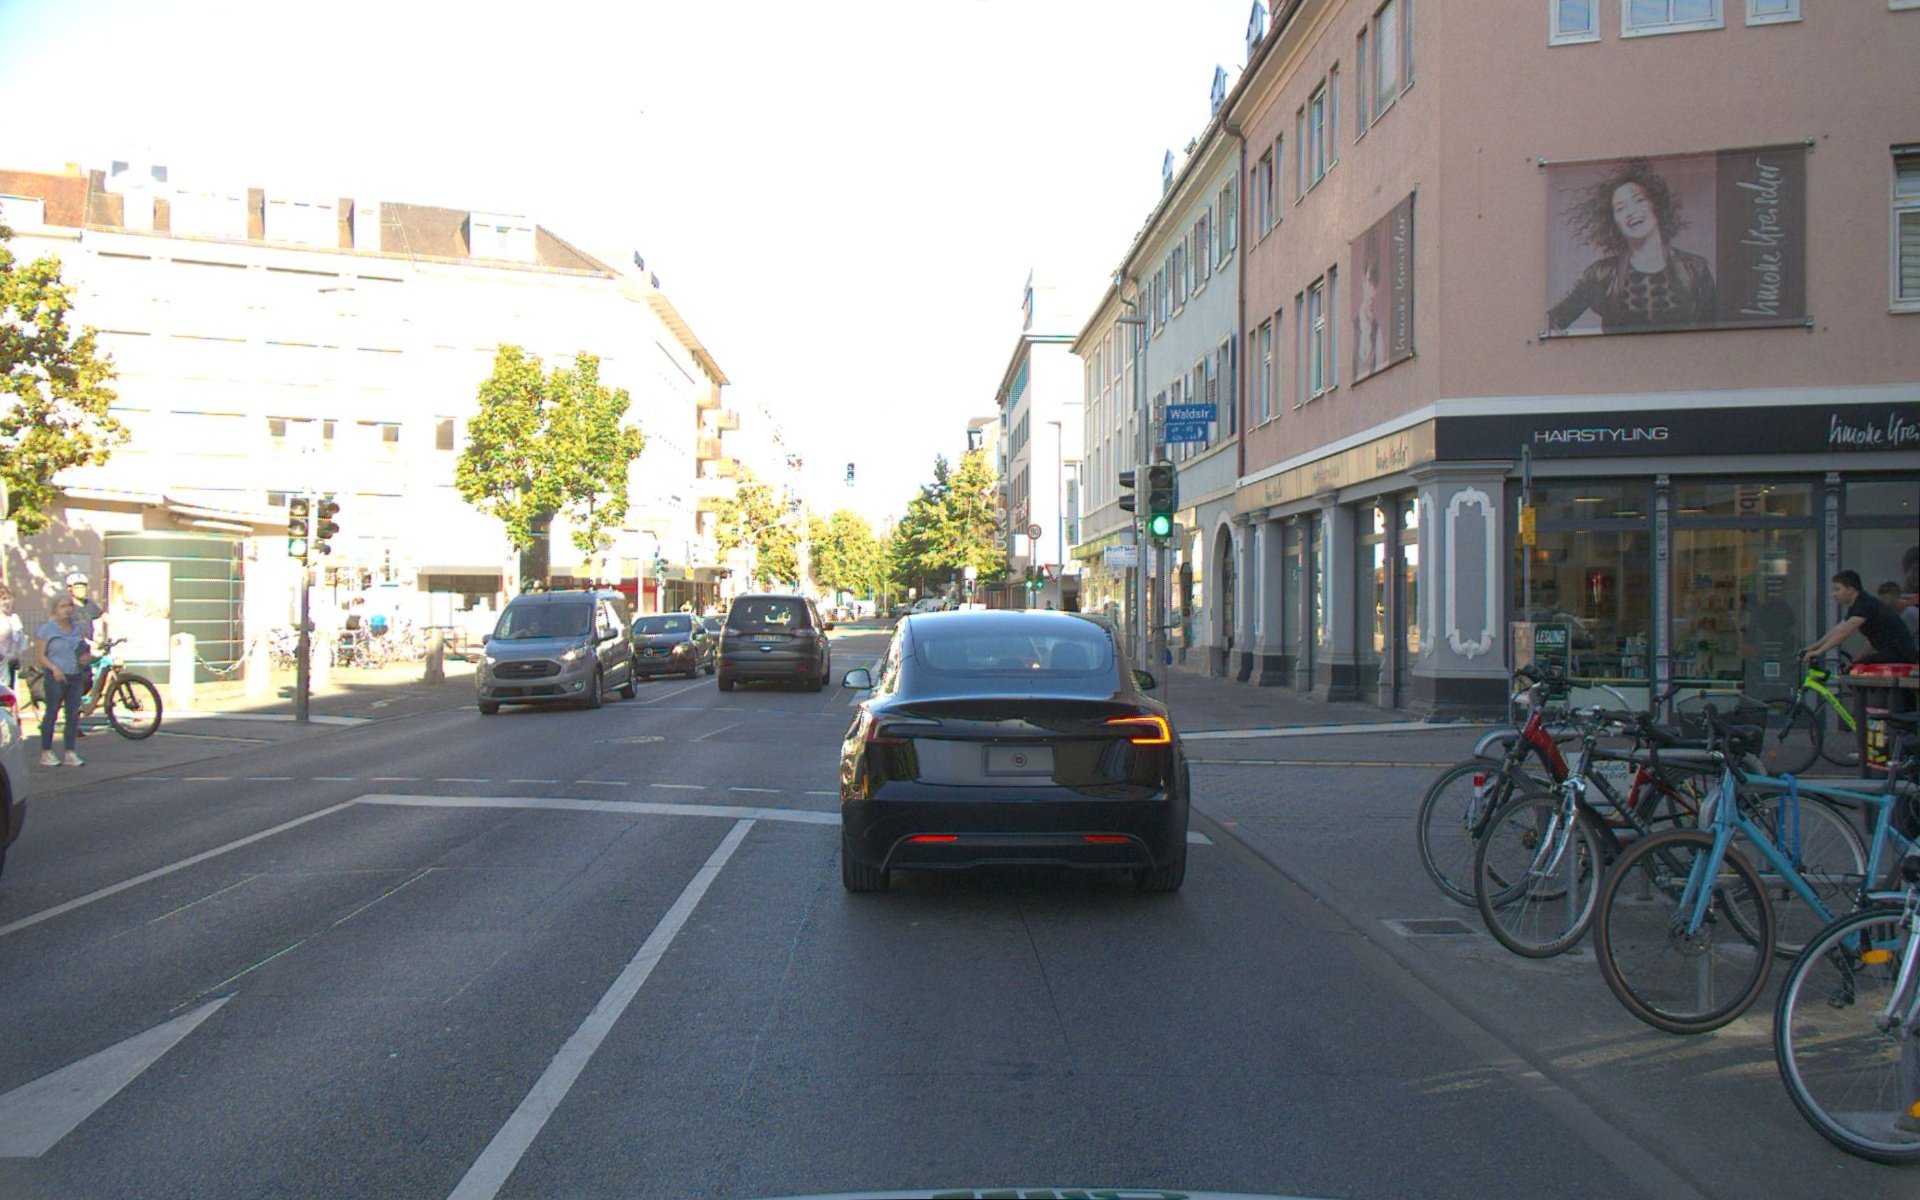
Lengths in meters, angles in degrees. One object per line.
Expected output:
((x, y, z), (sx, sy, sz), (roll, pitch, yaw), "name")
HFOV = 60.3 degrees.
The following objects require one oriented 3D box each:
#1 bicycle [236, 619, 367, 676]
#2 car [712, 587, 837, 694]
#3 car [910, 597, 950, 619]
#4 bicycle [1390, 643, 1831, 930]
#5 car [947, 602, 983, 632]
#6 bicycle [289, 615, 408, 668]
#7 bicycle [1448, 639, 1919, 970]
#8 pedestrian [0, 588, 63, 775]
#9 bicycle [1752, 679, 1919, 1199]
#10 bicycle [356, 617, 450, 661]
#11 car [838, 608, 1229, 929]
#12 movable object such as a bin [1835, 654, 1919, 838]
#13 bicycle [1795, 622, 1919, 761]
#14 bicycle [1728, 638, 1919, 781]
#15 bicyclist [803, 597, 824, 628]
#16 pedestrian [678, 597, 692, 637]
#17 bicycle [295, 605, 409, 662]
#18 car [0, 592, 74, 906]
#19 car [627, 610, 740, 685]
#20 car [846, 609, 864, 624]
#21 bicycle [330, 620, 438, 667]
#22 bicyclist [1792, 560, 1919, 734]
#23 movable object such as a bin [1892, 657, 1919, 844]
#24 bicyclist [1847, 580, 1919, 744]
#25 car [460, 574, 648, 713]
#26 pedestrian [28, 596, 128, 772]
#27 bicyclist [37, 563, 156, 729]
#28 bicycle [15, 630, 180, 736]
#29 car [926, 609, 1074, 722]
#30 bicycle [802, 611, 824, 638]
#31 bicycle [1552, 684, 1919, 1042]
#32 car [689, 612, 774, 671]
((-14.199, 1.020, 35.698), (2.455, 1.176, 0.842), (1, 0, -3), "bicycle")
((-3.334, 0.691, 30.549), (1.953, 1.803, 4.726), (0, 0, -2), "car")
((-2.942, 0.746, 160.890), (3.907, 2.049, 1.999), (1, 0, -2), "car")
((3.127, 0.884, 8.115), (1.822, 1.280, 0.833), (-1, 0, 4), "bicycle")
((0.264, 0.943, 94.149), (1.953, 1.657, 3.999), (0, 0, -1), "car")
((-14.119, 0.961, 38.232), (2.412, 1.176, 0.842), (1, 0, -3), "bicycle")
((3.065, 0.838, 7.084), (1.709, 1.289, 0.781), (-1, 0, 2), "bicycle")
((-9.099, 0.766, 15.879), (0.537, 1.758, 0.673), (0, -1, 32), "pedestrian")
((3.224, 0.875, 4.556), (1.686, 1.290, 0.791), (-1, 0, 4), "bicycle")
((-15.251, 1.061, 45.329), (2.279, 1.176, 0.841), (1, 0, -7), "bicycle")
((0.310, 0.793, 9.664), (1.810, 1.480, 3.999), (0, 0, -1), "car")
((6.090, 0.917, 10.509), (0.718, 1.111, 0.627), (1, -1, 1), "movable object such as a bin")
((8.741, 0.830, 15.276), (1.756, 1.243, 0.681), (0, 0, 18), "bicycle")
((7.705, 0.920, 14.187), (1.926, 1.169, 0.791), (-1, -1, 18), "bicycle")
((-7.876, 0.688, 88.857), (1.104, 1.657, 0.964), (1, 0, -4), "bicyclist")
((-14.077, 0.872, 84.713), (0.563, 2.049, 0.827), (1, -1, -5), "pedestrian")
((-14.732, 0.804, 40.154), (2.429, 1.347, 0.921), (1, 0, -7), "bicycle")
((-5.691, 0.802, 6.876), (1.771, 1.582, 4.307), (-3, 0, -3), "car")
((-6.169, 1.020, 37.421), (1.954, 1.434, 4.671), (-3, 0, -3), "car")
((-11.421, 1.799, 180.237), (1.954, 1.666, 3.997), (0, 0, -4), "car")
((-14.920, 1.129, 42.906), (2.485, 1.176, 0.841), (1, 0, -6), "bicycle")
((7.705, 0.392, 14.196), (0.903, 1.439, 0.806), (0, -1, 18), "bicyclist")
((6.113, 0.913, 9.872), (0.737, 1.111, 0.627), (1, -1, 1), "movable object such as a bin")
((8.775, 0.562, 15.250), (0.926, 1.475, 0.806), (0, -1, 19), "bicyclist")
((-6.259, 0.617, 26.049), (1.797, 1.877, 4.673), (-3, 0, -1), "car")
((-8.739, 0.814, 16.390), (0.671, 1.692, 0.619), (0, -1, 34), "pedestrian")
((-10.045, 0.522, 19.257), (0.930, 1.870, 0.788), (1, 0, 23), "bicyclist")
((-10.101, 0.946, 19.354), (2.019, 1.159, 0.538), (1, 0, 23), "bicycle")
((0.515, 0.920, 25.017), (1.953, 1.538, 4.173), (1, 0, -2), "car")
((-7.864, 1.315, 88.761), (1.089, 1.368, 3.997), (1, 0, -4), "bicycle")
((3.137, 0.900, 5.906), (1.760, 1.144, 0.782), (-1, 0, 4), "bicycle")
((-6.446, 1.133, 47.160), (1.954, 1.461, 4.671), (-3, 0, -3), "car")
